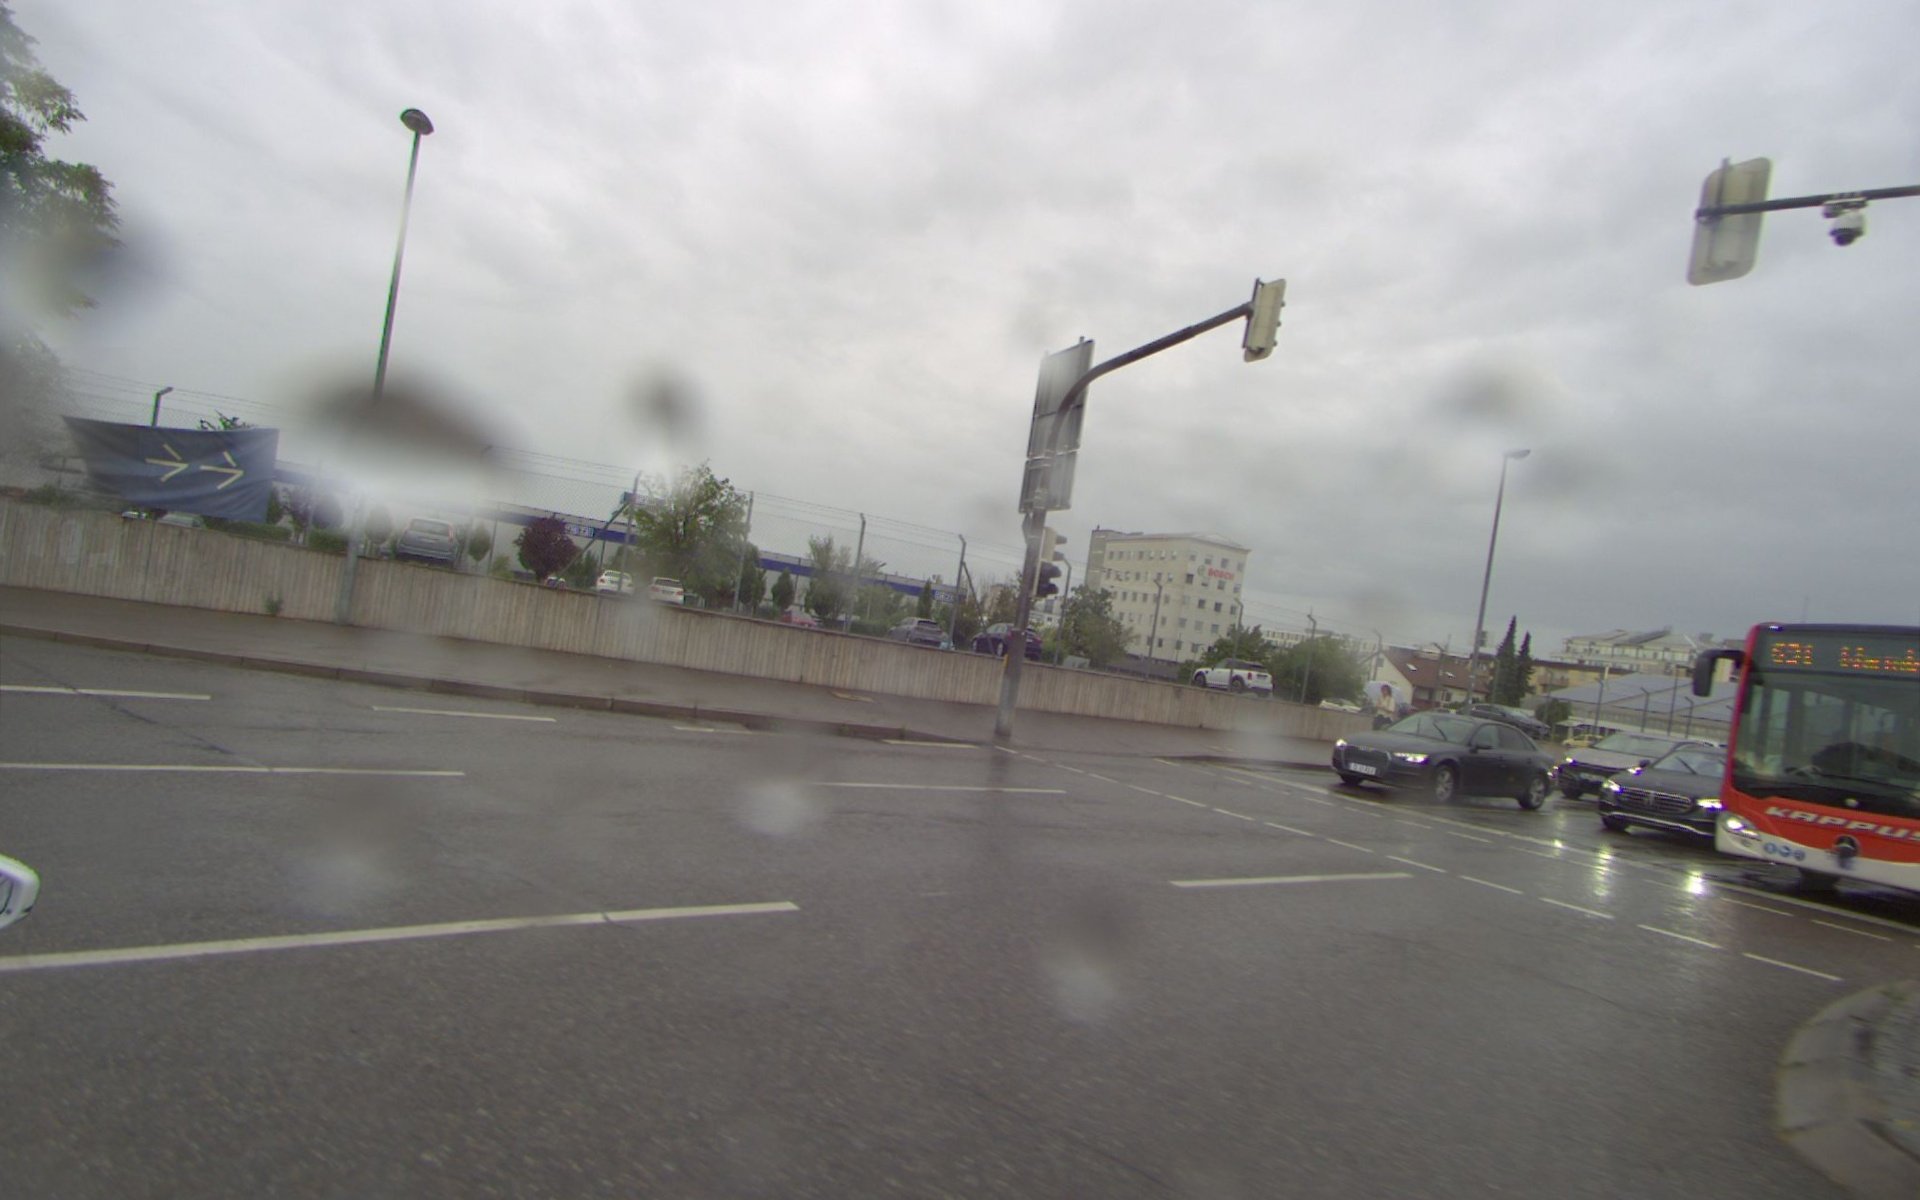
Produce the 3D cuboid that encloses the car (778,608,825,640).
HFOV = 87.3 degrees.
[{"bbox_3d":[-10.345,1.530,65.346,1.905,1.607,3.767,9,-2,-25],"label":"car"}]

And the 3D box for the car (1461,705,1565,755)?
[{"bbox_3d":[26.109,6.124,47.638,1.906,1.684,3.882,8,-2,-20],"label":"car"}]

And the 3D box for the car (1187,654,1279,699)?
[{"bbox_3d":[12.942,3.618,47.923,1.693,1.577,4.160,8,-2,-29],"label":"car"}]

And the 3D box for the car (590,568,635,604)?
[{"bbox_3d":[-17.351,-0.699,50.158,1.799,1.450,4.085,8,-2,-22],"label":"car"}]

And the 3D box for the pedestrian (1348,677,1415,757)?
[{"bbox_3d":[9.696,2.690,23.159,0.865,1.630,0.861,8,3,-35],"label":"pedestrian"}]

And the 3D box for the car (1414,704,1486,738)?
[{"bbox_3d":[33.153,8.181,68.163,1.973,1.636,3.983,9,-2,-20],"label":"car"}]

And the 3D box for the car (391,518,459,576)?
[{"bbox_3d":[-17.679,-1.717,33.379,1.728,1.571,3.508,8,-2,-27],"label":"car"}]

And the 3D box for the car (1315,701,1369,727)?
[{"bbox_3d":[31.827,9.488,83.869,1.824,1.559,3.978,8,-2,-24],"label":"car"}]

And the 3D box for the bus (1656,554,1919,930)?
[{"bbox_3d":[14.075,2.326,13.464,12.178,3.615,2.963,11,-3,-31],"label":"bus"}]

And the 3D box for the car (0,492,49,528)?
[{"bbox_3d":[-50.326,-4.820,53.547,1.652,1.625,3.508,8,-2,-27],"label":"car"}]

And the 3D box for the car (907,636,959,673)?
[{"bbox_3d":[-1.900,3.736,69.617,1.976,2.037,3.976,8,-2,-26],"label":"car"}]

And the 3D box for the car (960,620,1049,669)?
[{"bbox_3d":[1.817,1.850,42.555,1.693,1.577,4.160,8,-2,-29],"label":"car"}]

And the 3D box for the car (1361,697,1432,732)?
[{"bbox_3d":[28.863,7.560,66.610,1.973,1.636,3.983,9,-2,-20],"label":"car"}]

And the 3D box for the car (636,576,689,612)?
[{"bbox_3d":[-15.295,-0.330,51.583,1.841,1.543,4.080,8,-2,-25],"label":"car"}]

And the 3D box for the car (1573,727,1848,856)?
[{"bbox_3d":[11.875,3.040,15.845,4.548,1.484,1.887,9,-2,-32],"label":"car"}]

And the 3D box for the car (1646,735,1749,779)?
[{"bbox_3d":[39.366,8.380,53.831,1.970,1.561,3.989,8,-2,-15],"label":"car"}]

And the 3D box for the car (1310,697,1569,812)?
[{"bbox_3d":[8.127,2.621,16.950,4.352,1.370,1.811,9,-2,-32],"label":"car"}]

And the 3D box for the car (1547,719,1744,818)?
[{"bbox_3d":[14.682,3.616,21.486,4.352,1.556,1.811,9,-2,-32],"label":"car"}]

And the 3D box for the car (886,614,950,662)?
[{"bbox_3d":[-2.219,1.938,52.087,1.728,2.037,3.799,8,-2,-27],"label":"car"}]
